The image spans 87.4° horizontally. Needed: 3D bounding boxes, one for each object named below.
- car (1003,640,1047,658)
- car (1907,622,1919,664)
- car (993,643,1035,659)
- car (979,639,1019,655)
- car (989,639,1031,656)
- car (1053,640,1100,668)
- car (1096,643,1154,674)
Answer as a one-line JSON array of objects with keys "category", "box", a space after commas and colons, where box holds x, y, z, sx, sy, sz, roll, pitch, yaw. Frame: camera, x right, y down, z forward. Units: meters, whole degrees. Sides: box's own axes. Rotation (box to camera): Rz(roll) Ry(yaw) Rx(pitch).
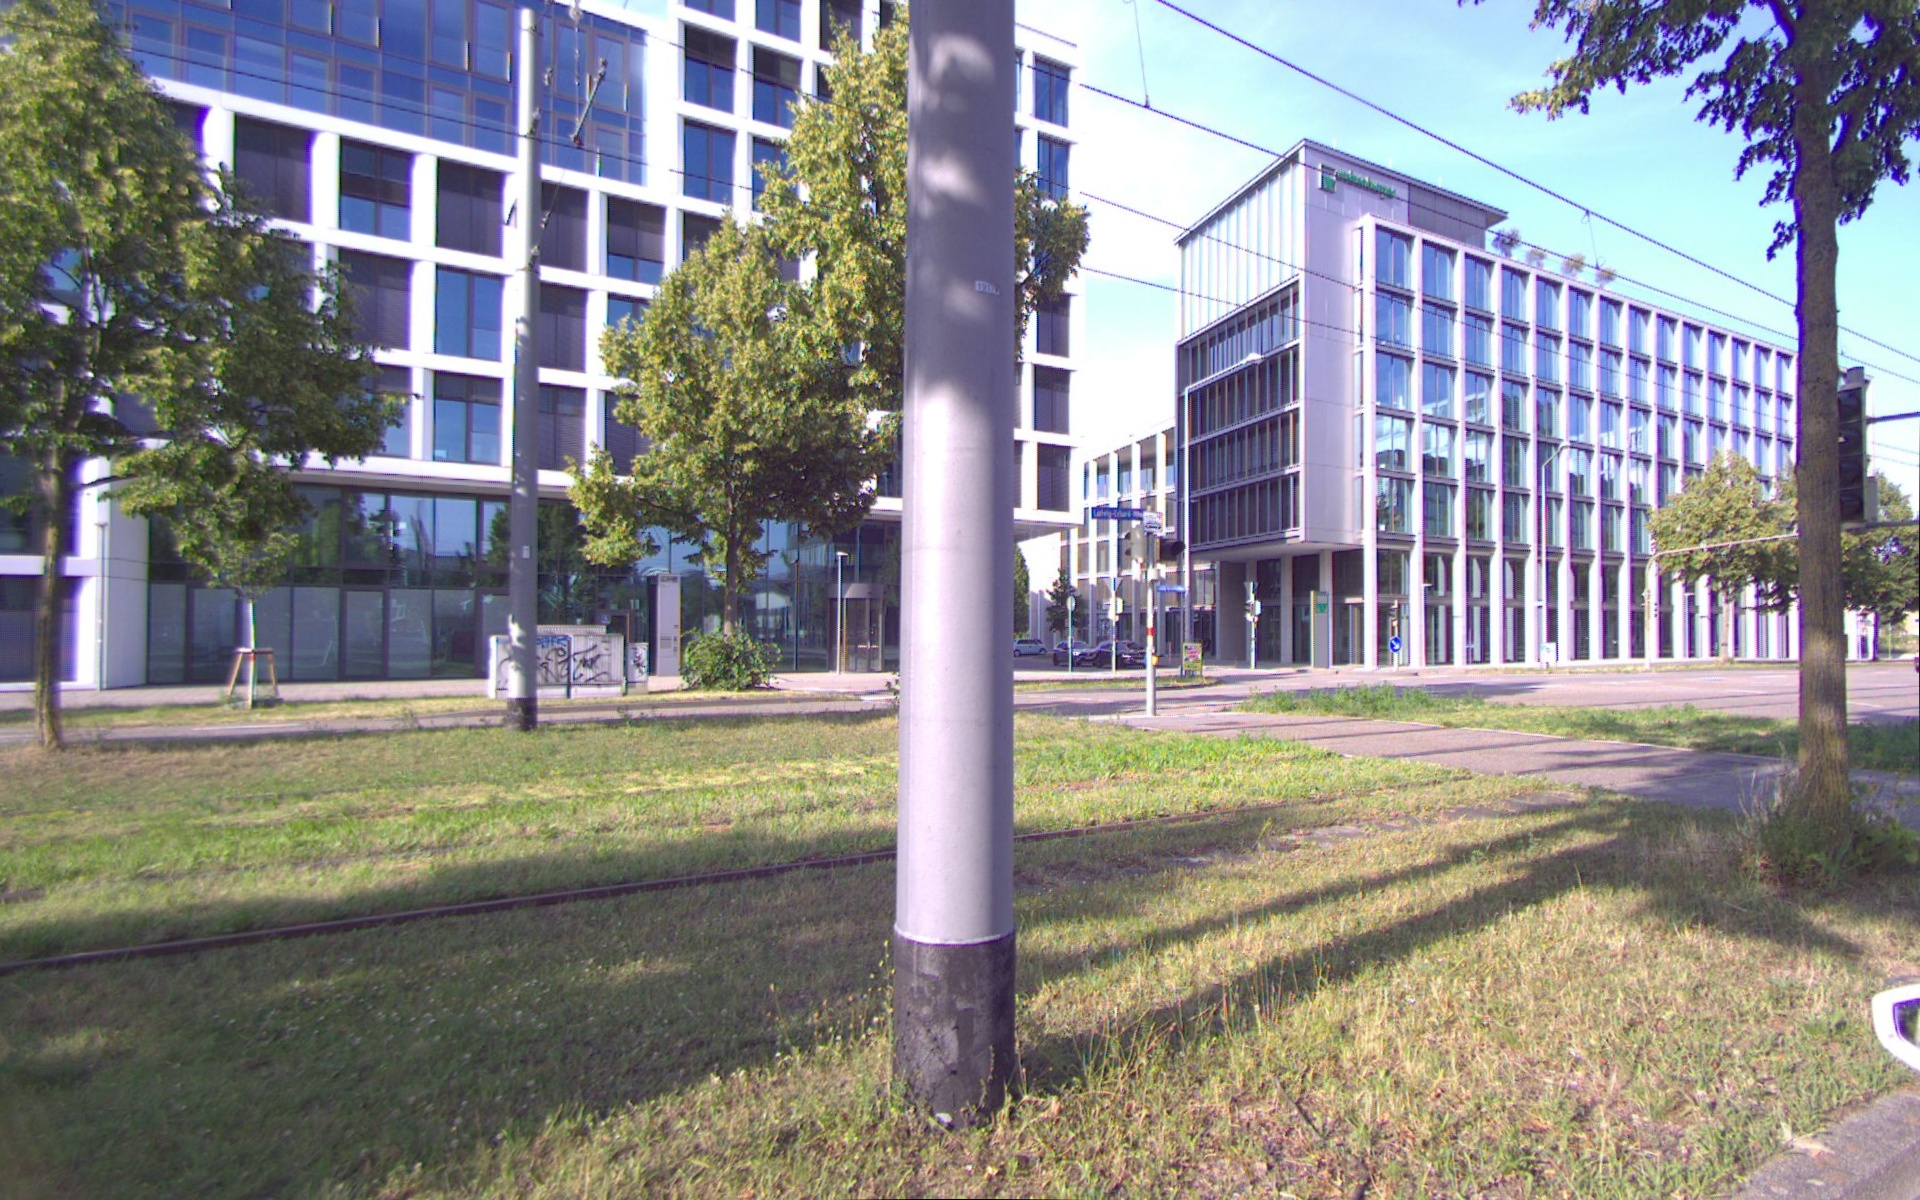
[{"category": "car", "box": [5.737, 4.313, 88.579, 3.536, 1.417, 1.524, 2, 0, -15]}, {"category": "car", "box": [42.894, 1.898, 43.647, 3.842, 1.799, 1.674, 2, 0, -34]}, {"category": "car", "box": [4.900, 4.602, 91.014, 3.536, 1.313, 1.524, 2, 0, -15]}, {"category": "car", "box": [3.815, 4.601, 98.240, 3.615, 1.416, 1.550, 2, 0, -14]}, {"category": "car", "box": [4.732, 4.489, 94.745, 3.615, 1.416, 1.550, 2, 0, -14]}, {"category": "car", "box": [6.949, 3.192, 60.116, 1.549, 1.443, 3.667, 2, 0, -15]}, {"category": "car", "box": [8.762, 3.079, 53.447, 1.551, 1.443, 3.497, 2, 0, -19]}]
